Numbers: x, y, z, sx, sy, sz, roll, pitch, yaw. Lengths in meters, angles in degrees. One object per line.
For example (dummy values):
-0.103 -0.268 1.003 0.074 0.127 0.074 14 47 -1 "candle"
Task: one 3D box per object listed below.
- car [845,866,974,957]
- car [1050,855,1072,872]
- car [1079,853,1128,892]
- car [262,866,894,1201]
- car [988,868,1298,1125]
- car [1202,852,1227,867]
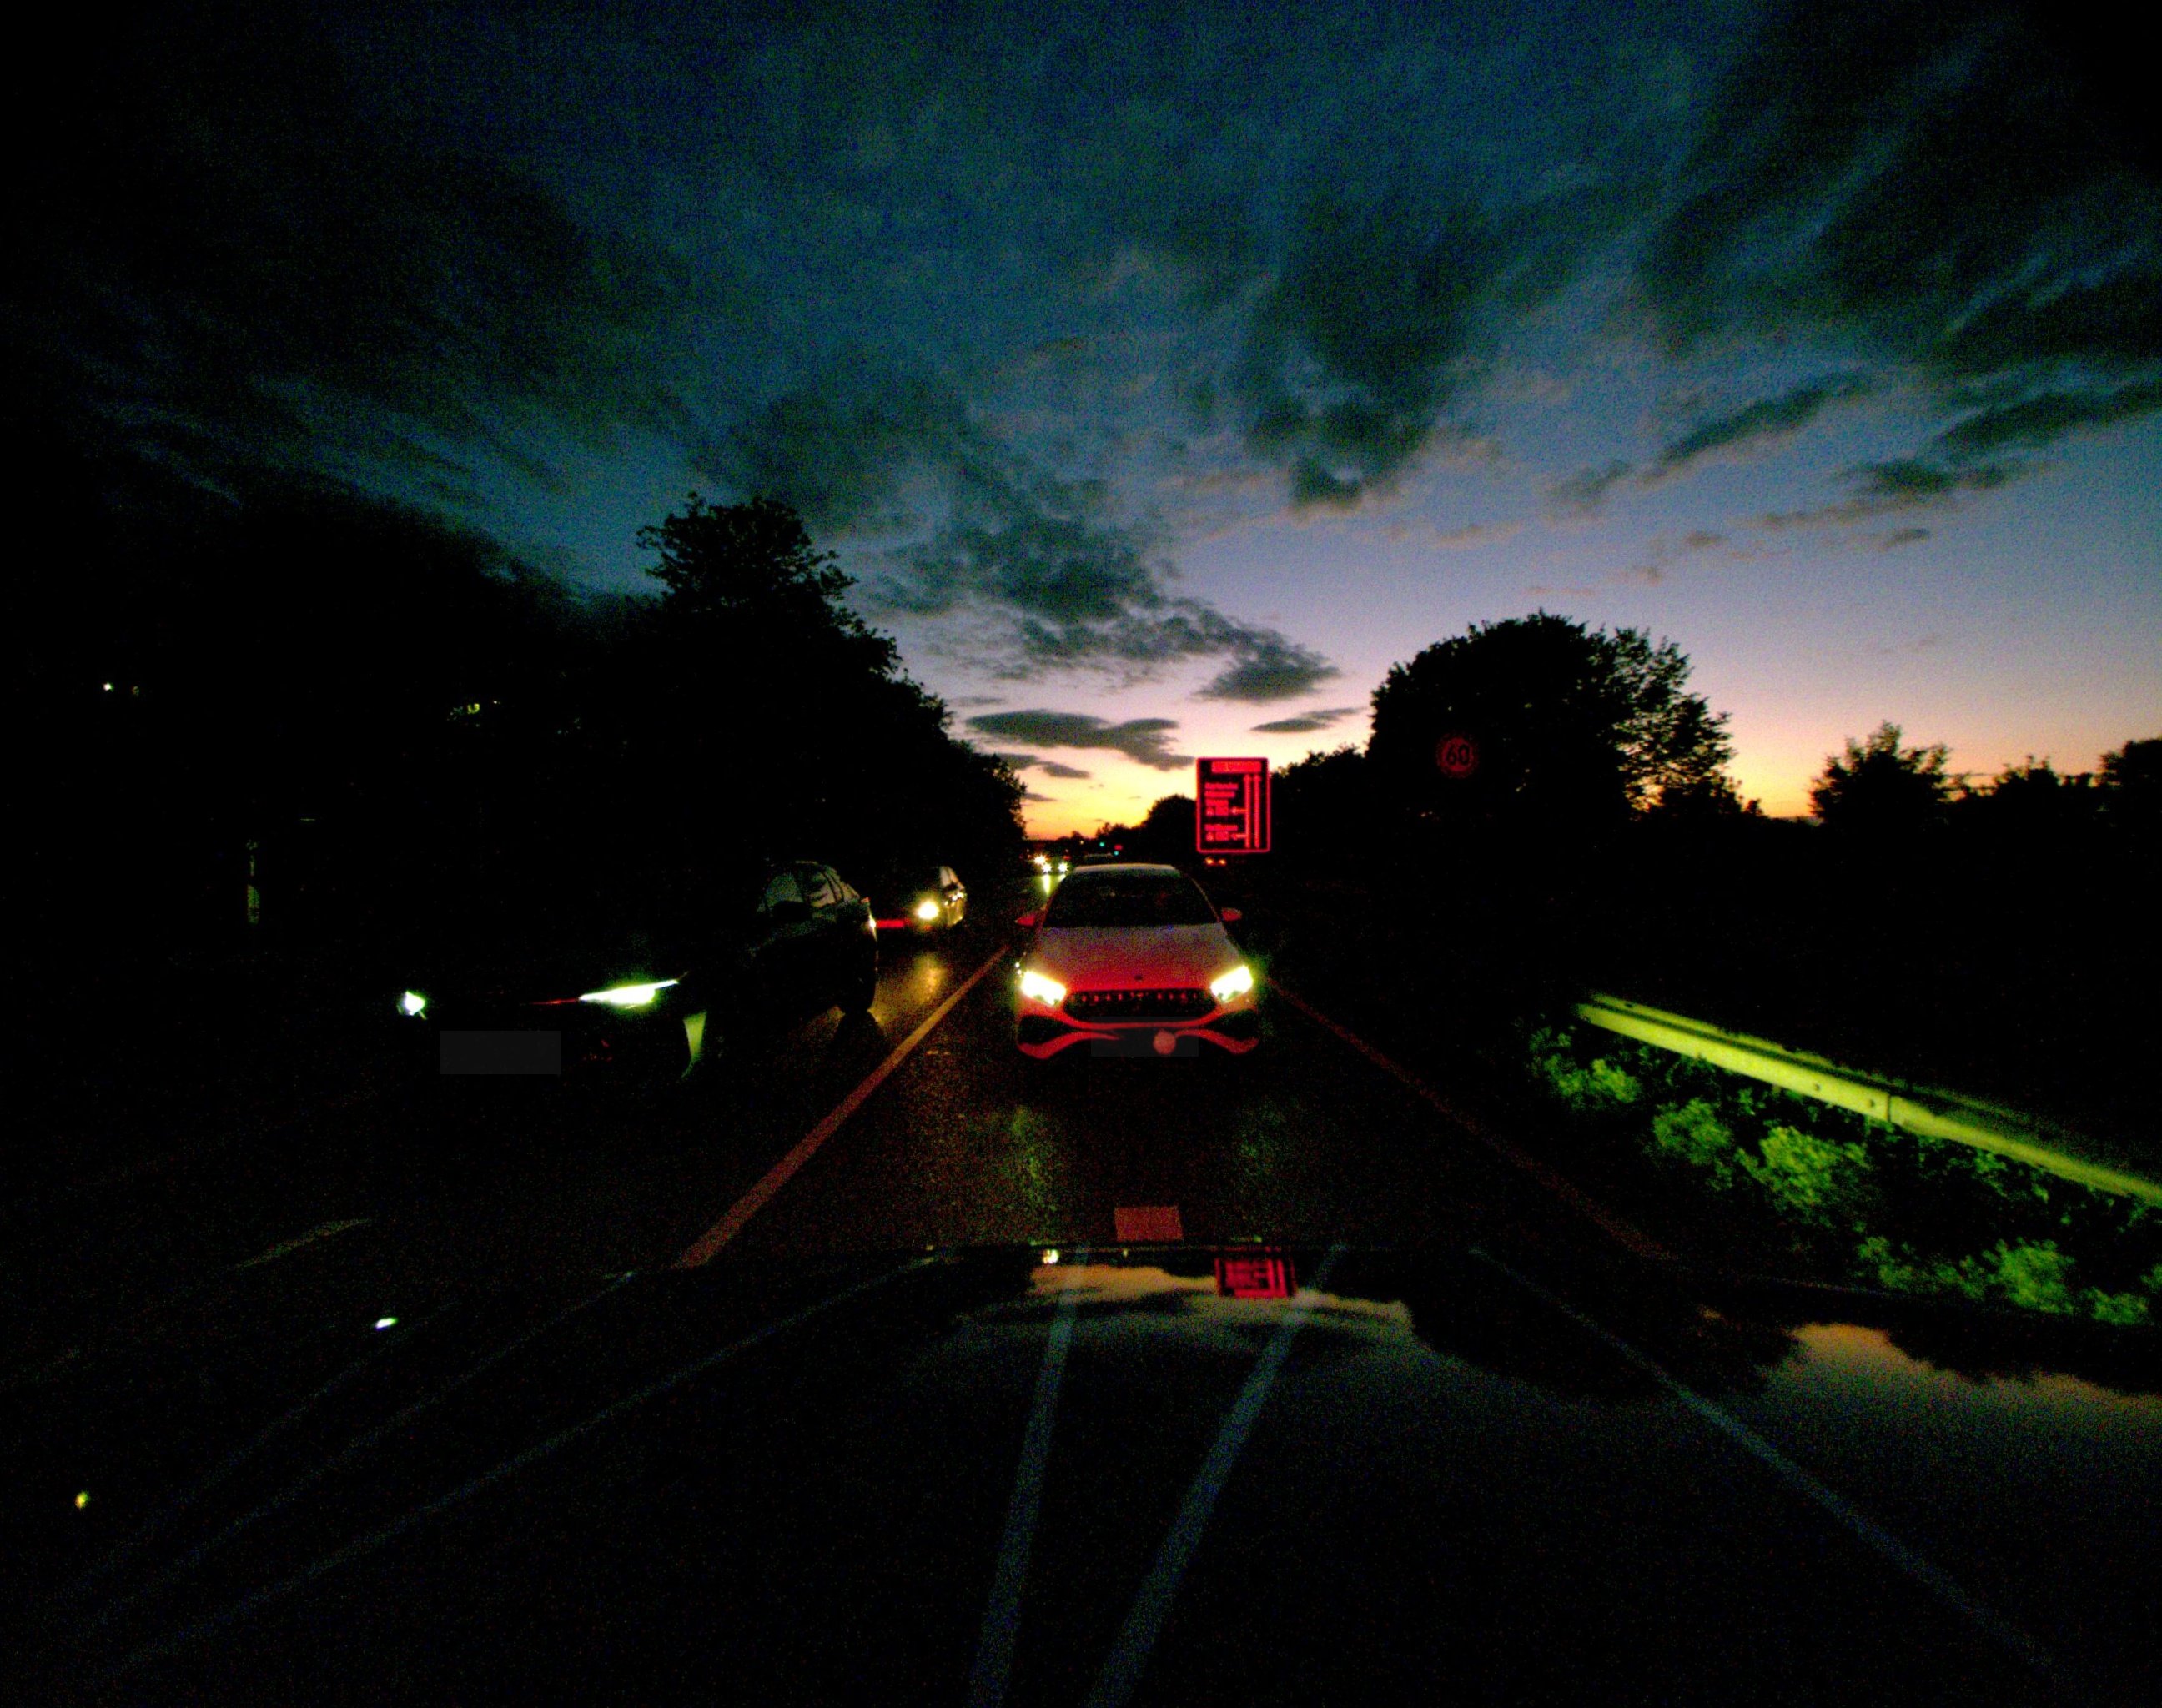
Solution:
-3.271 1.037 15.220 1.624 1.460 3.871 -2 0 1 "car"
-1.814 0.834 69.450 1.999 1.423 4.501 0 0 -1 "car"
0.956 0.796 34.926 1.999 1.602 4.501 -1 0 -1 "car"
-3.178 0.969 6.284 1.998 1.600 4.711 -2 0 1 "car"
0.391 0.934 7.018 1.901 1.472 4.514 -2 0 0 "car"
14.072 0.571 80.393 1.998 1.510 4.297 -1 0 1 "car"
